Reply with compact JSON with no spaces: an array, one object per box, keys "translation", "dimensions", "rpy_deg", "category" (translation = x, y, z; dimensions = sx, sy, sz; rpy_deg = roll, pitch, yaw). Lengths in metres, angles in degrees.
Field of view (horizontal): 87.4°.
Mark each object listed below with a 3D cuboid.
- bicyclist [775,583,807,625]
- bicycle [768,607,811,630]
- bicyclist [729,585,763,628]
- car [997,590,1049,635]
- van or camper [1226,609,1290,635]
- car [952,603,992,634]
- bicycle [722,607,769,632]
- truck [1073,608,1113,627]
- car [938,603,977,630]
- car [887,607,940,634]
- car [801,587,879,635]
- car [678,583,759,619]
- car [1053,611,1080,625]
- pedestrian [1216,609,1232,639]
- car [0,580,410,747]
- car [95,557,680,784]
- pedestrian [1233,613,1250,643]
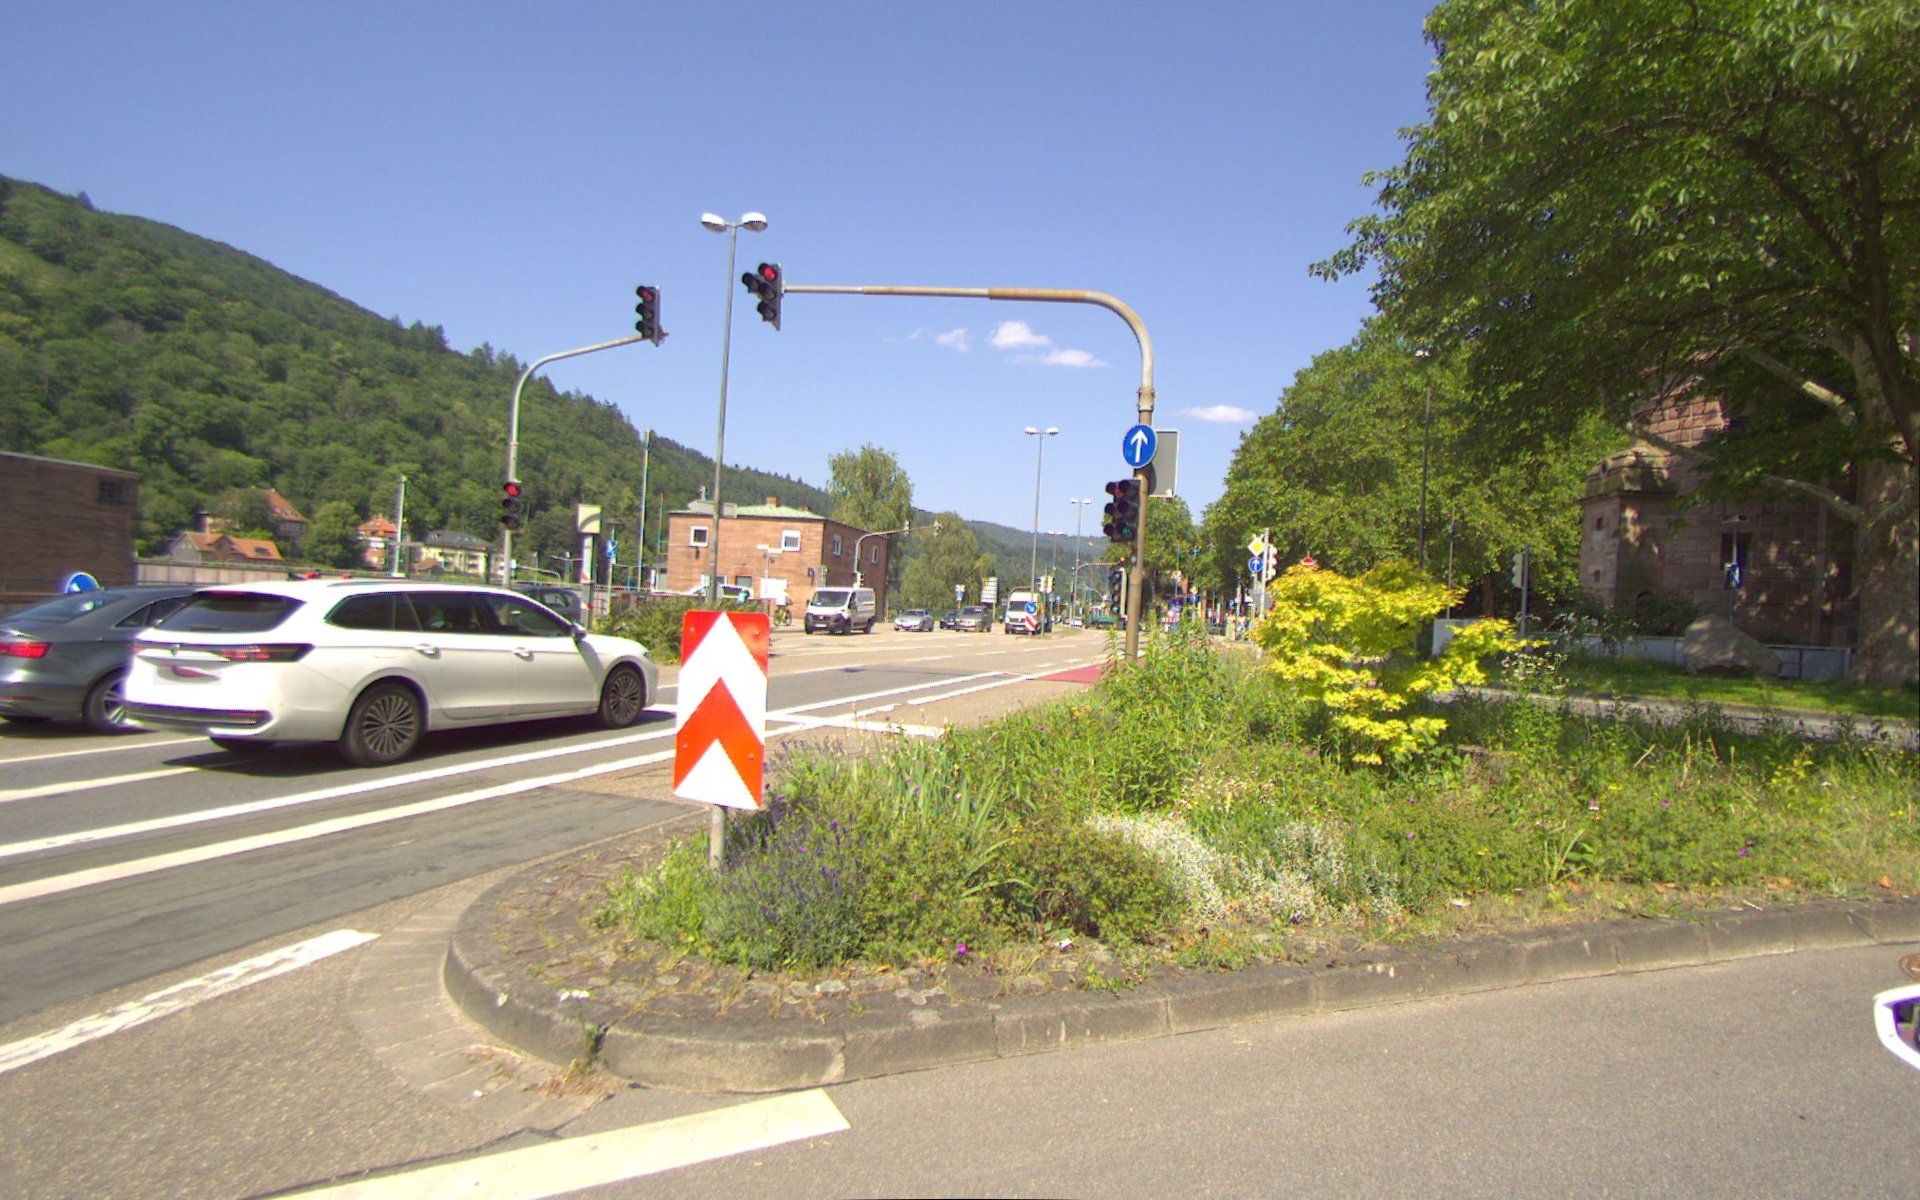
[{"translation":[-8.384,0.201,49.933],"dimensions":[1.191,2.040,1.119],"rpy_deg":[2,0,14],"category":"bicyclist"},{"translation":[-8.459,0.901,50.019],"dimensions":[1.192,1.105,2.599],"rpy_deg":[2,0,13],"category":"bicycle"},{"translation":[-10.270,0.312,48.182],"dimensions":[1.191,2.040,1.119],"rpy_deg":[2,0,14],"category":"bicyclist"},{"translation":[4.083,0.743,63.600],"dimensions":[2.343,2.611,6.058],"rpy_deg":[1,0,12],"category":"car"},{"translation":[23.763,1.736,80.159],"dimensions":[4.488,1.927,1.991],"rpy_deg":[1,0,40],"category":"van or camper"},{"translation":[0.796,1.163,63.732],"dimensions":[1.959,1.857,4.002],"rpy_deg":[2,0,8],"category":"car"},{"translation":[-10.255,0.924,48.241],"dimensions":[1.192,1.105,2.599],"rpy_deg":[2,0,13],"category":"bicycle"},{"translation":[15.585,2.047,117.873],"dimensions":[2.130,2.040,6.245],"rpy_deg":[2,0,-18],"category":"truck"},{"translation":[-0.140,1.173,72.129],"dimensions":[2.169,1.804,4.752],"rpy_deg":[1,0,7],"category":"car"},{"translation":[-2.726,1.206,60.624],"dimensions":[2.169,1.477,4.753],"rpy_deg":[2,0,10],"category":"car"},{"translation":[-5.523,0.483,47.124],"dimensions":[2.176,2.106,5.046],"rpy_deg":[1,0,11],"category":"car"},{"translation":[-14.547,0.053,60.411],"dimensions":[4.547,2.040,1.991],"rpy_deg":[2,0,-19],"category":"car"},{"translation":[15.880,2.695,149.607],"dimensions":[1.922,2.040,3.964],"rpy_deg":[2,0,-32],"category":"car"},{"translation":[15.634,1.437,59.492],"dimensions":[0.750,1.742,0.793],"rpy_deg":[1,0,29],"category":"pedestrian"},{"translation":[-8.170,0.529,10.490],"dimensions":[1.836,1.377,3.999],"rpy_deg":[2,0,21],"category":"car"},{"translation":[-4.835,0.509,9.454],"dimensions":[1.756,1.552,4.736],"rpy_deg":[1,0,21],"category":"car"},{"translation":[16.639,1.640,59.348],"dimensions":[0.750,1.731,0.876],"rpy_deg":[1,0,29],"category":"pedestrian"}]
